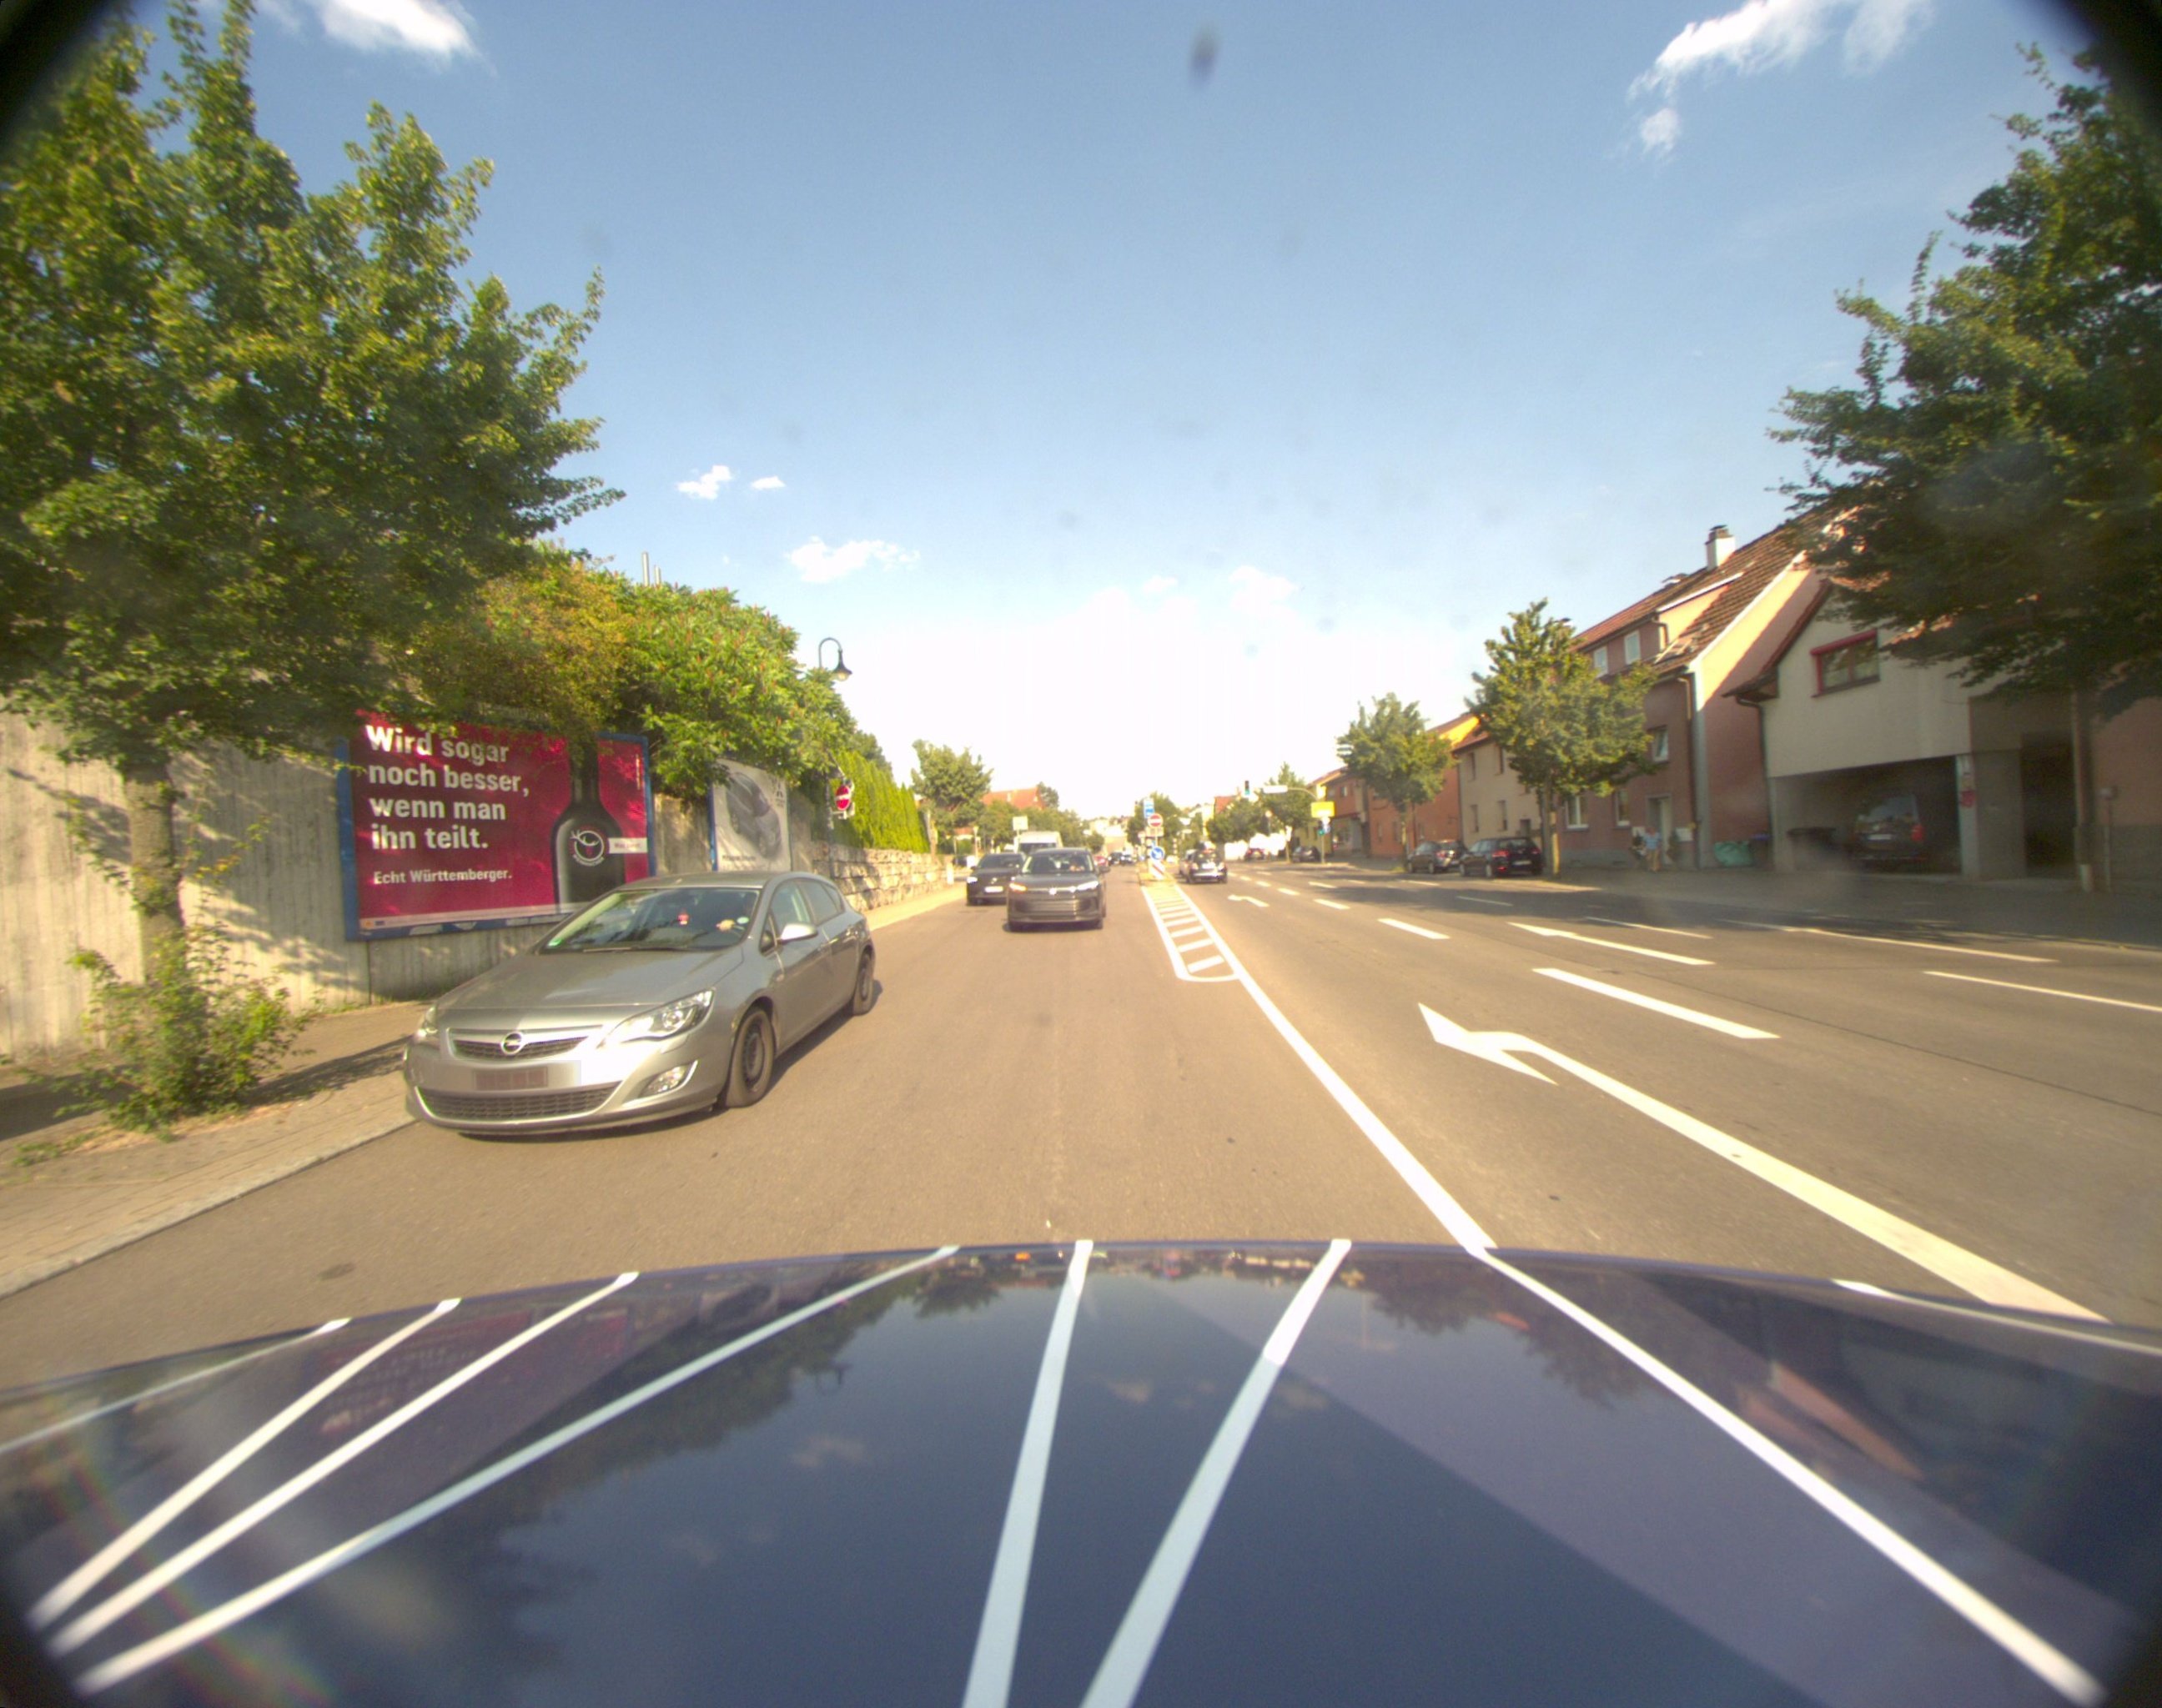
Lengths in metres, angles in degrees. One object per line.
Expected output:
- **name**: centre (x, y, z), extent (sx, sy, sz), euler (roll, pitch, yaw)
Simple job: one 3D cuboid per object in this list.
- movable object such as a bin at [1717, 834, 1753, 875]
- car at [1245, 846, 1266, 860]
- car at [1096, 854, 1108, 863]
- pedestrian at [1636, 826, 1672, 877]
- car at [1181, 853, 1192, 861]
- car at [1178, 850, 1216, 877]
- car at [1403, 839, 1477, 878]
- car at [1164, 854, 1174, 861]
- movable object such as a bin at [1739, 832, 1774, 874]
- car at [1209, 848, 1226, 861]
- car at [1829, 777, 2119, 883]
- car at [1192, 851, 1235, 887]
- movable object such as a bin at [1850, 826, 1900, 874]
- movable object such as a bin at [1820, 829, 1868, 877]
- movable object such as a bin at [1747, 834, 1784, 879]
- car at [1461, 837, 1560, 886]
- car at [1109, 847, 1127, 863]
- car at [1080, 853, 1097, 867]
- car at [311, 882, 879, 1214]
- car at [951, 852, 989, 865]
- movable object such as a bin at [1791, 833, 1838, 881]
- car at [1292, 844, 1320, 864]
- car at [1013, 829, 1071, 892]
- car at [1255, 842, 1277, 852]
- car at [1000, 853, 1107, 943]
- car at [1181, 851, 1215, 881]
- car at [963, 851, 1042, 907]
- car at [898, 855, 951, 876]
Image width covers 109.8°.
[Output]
- **movable object such as a bin**: centre (18.411, 0.009, 21.402), extent (0.552, 1.136, 0.530), euler (-2, 0, 7)
- **car**: centre (20.280, -0.120, 88.471), extent (1.858, 1.586, 4.462), euler (-2, 0, 6)
- **car**: centre (3.240, 0.708, 118.160), extent (1.529, 1.354, 2.794), euler (-2, 0, 7)
- **pedestrian**: centre (18.341, -0.069, 24.333), extent (0.776, 1.598, 0.724), euler (-2, 1, 28)
- **car**: centre (21.078, 0.564, 151.478), extent (1.761, 1.403, 4.001), euler (-2, 0, 3)
- **car**: centre (7.007, 0.546, 46.197), extent (1.839, 1.480, 4.567), euler (-2, 0, 4)
- **car**: centre (15.781, 0.198, 33.574), extent (1.515, 1.501, 3.886), euler (-4, 0, 3)
- **car**: centre (18.535, 0.668, 160.549), extent (1.761, 1.403, 4.001), euler (-2, 0, 3)
- **movable object such as a bin**: centre (18.955, -0.023, 21.331), extent (0.505, 1.136, 0.530), euler (-2, 0, 7)
- **car**: centre (18.455, 0.094, 102.803), extent (1.689, 1.602, 4.414), euler (-2, 0, 4)
- **car**: centre (19.048, -0.476, 16.380), extent (3.829, 1.870, 1.779), euler (-4, 1, 6)
- **car**: centre (5.812, 0.631, 33.687), extent (1.535, 1.453, 3.507), euler (-2, 0, 5)
- **movable object such as a bin**: centre (19.379, -0.104, 18.553), extent (0.567, 1.136, 0.576), euler (-2, 0, -1)
- **movable object such as a bin**: centre (18.691, -0.023, 18.623), extent (0.567, 1.136, 0.576), euler (-2, 0, -1)
- **movable object such as a bin**: centre (17.656, 0.058, 19.615), extent (0.476, 1.130, 0.501), euler (-2, 0, 4)
- **car**: centre (15.420, 0.228, 27.510), extent (1.669, 1.523, 3.904), euler (-5, 0, 8)
- **car**: centre (4.432, 0.104, 90.027), extent (1.815, 1.861, 4.002), euler (-2, 0, 6)
- **car**: centre (0.819, 0.632, 78.174), extent (1.515, 1.354, 2.956), euler (-2, 0, 4)
- **car**: centre (-2.850, 0.994, 5.685), extent (1.652, 1.414, 4.143), euler (-1, 0, -2)
- **car**: centre (-13.146, 0.532, 90.267), extent (4.072, 1.448, 1.681), euler (-2, 0, 16)
- **movable object such as a bin**: centre (17.912, 0.077, 18.565), extent (0.567, 1.136, 0.576), euler (-2, 0, -1)
- **car**: centre (18.620, 0.014, 63.014), extent (1.595, 1.430, 3.777), euler (-6, -1, 8)
- **car**: centre (-1.723, 0.274, 36.038), extent (2.040, 2.642, 6.650), euler (-3, 0, 2)
- **car**: centre (31.246, -1.193, 128.442), extent (3.437, 1.534, 1.617), euler (-2, 0, -35)
- **car**: centre (-0.444, 0.813, 15.976), extent (1.767, 1.582, 4.058), euler (-3, 0, 4)
- **car**: centre (6.199, 0.603, 40.396), extent (1.592, 1.419, 3.579), euler (-2, 1, 6)
- **car**: centre (-2.408, 0.740, 24.271), extent (1.791, 1.596, 4.058), euler (-2, 0, 4)
- **car**: centre (-12.223, 0.862, 59.548), extent (3.795, 1.533, 1.599), euler (1, 1, 3)
